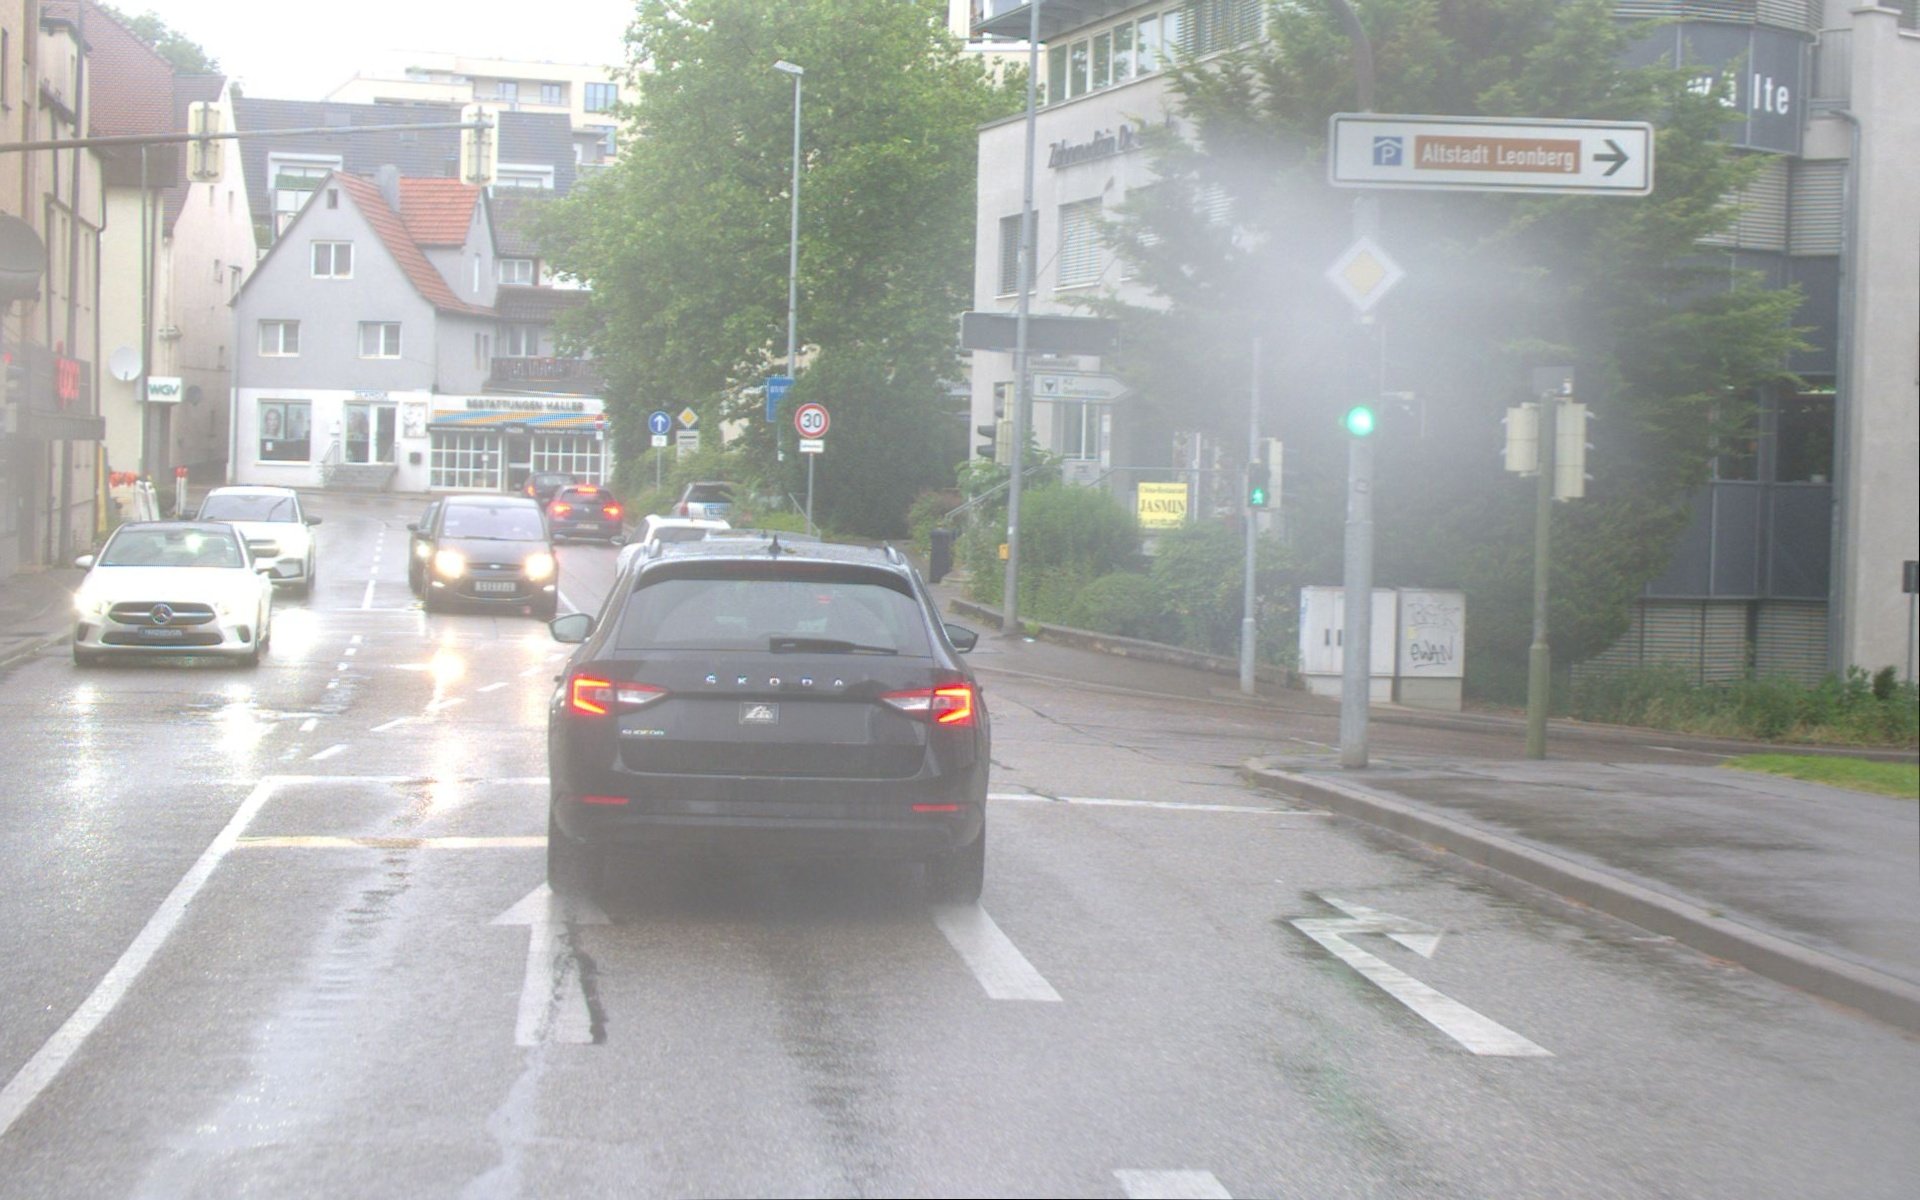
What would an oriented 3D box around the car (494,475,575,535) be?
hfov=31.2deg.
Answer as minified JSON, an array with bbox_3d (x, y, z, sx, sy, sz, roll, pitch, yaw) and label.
[{"bbox_3d":[-12.223,-2.709,98.613,1.892,1.676,3.689,1,1,-13],"label":"car"}]

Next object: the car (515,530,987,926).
[{"bbox_3d":[-1.001,0.455,15.315,1.781,1.478,4.247,1,1,-5],"label":"car"}]

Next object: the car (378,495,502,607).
[{"bbox_3d":[-8.239,-0.807,54.217,1.784,1.557,4.404,2,2,-10],"label":"car"}]

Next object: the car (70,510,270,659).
[{"bbox_3d":[-7.989,-0.196,35.051,1.690,1.368,4.114,0,2,-9],"label":"car"}]

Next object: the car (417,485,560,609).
[{"bbox_3d":[-6.760,-0.717,49.008,1.784,1.557,4.403,2,-1,-10],"label":"car"}]

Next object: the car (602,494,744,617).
[{"bbox_3d":[-4.202,-0.611,49.821,1.727,1.585,4.185,3,-1,-8],"label":"car"}]

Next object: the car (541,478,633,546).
[{"bbox_3d":[-9.075,-2.138,83.423,1.892,1.585,3.689,1,1,-11],"label":"car"}]

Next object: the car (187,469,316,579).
[{"bbox_3d":[-10.827,-1.195,52.740,1.784,1.555,4.338,1,2,-10],"label":"car"}]

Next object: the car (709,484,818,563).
[{"bbox_3d":[-4.295,-1.670,74.695,1.851,1.635,3.540,0,2,-12],"label":"car"}]

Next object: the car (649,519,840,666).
[{"bbox_3d":[-2.229,-0.117,35.517,1.817,1.355,3.990,2,2,-4],"label":"car"}]

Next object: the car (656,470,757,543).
[{"bbox_3d":[-5.950,-2.209,80.452,1.851,1.635,3.873,0,2,-12],"label":"car"}]
